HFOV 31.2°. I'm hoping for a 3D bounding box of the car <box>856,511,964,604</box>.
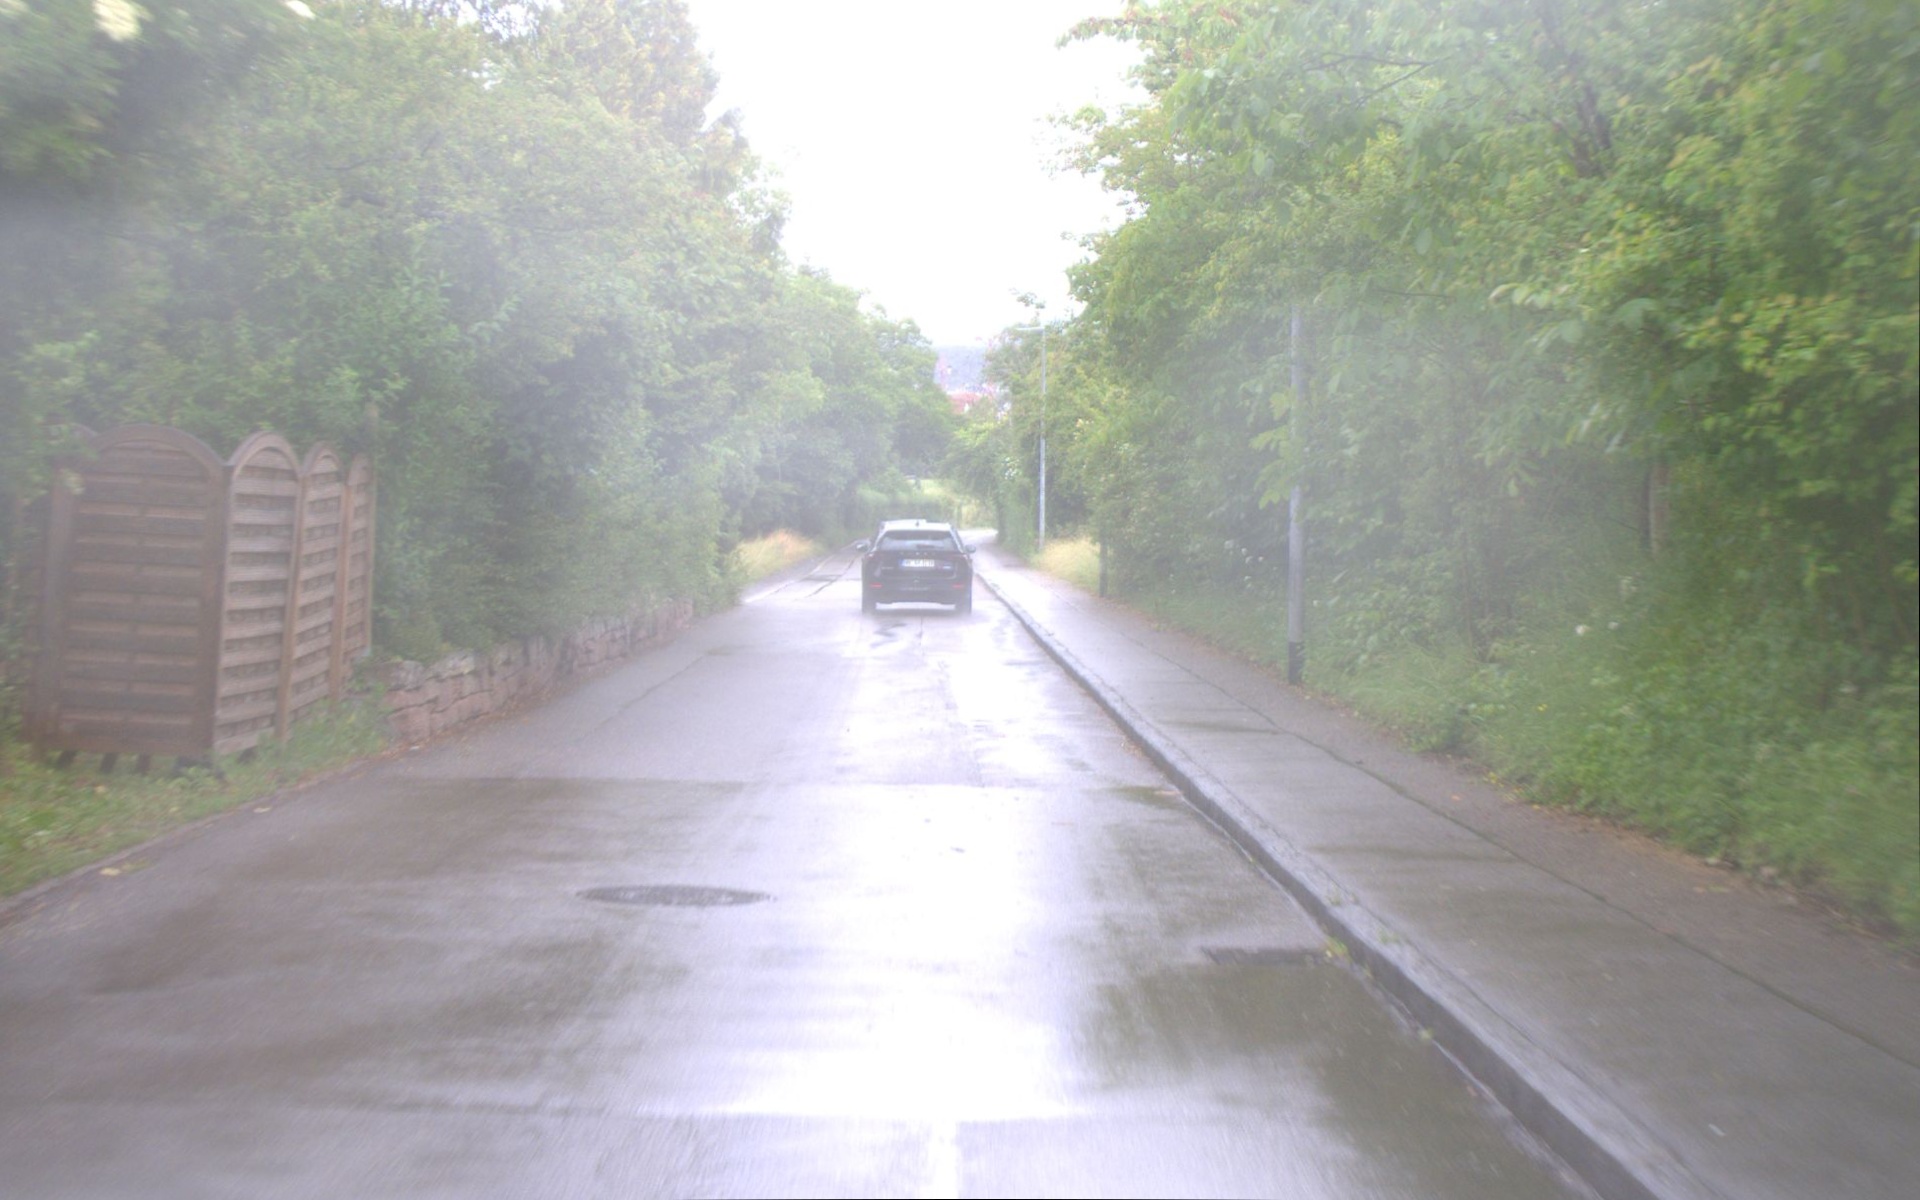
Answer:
[{"bbox_3d":[-0.776,-0.676,55.390,1.634,1.445,3.544,0,0,1],"label":"car"}]
